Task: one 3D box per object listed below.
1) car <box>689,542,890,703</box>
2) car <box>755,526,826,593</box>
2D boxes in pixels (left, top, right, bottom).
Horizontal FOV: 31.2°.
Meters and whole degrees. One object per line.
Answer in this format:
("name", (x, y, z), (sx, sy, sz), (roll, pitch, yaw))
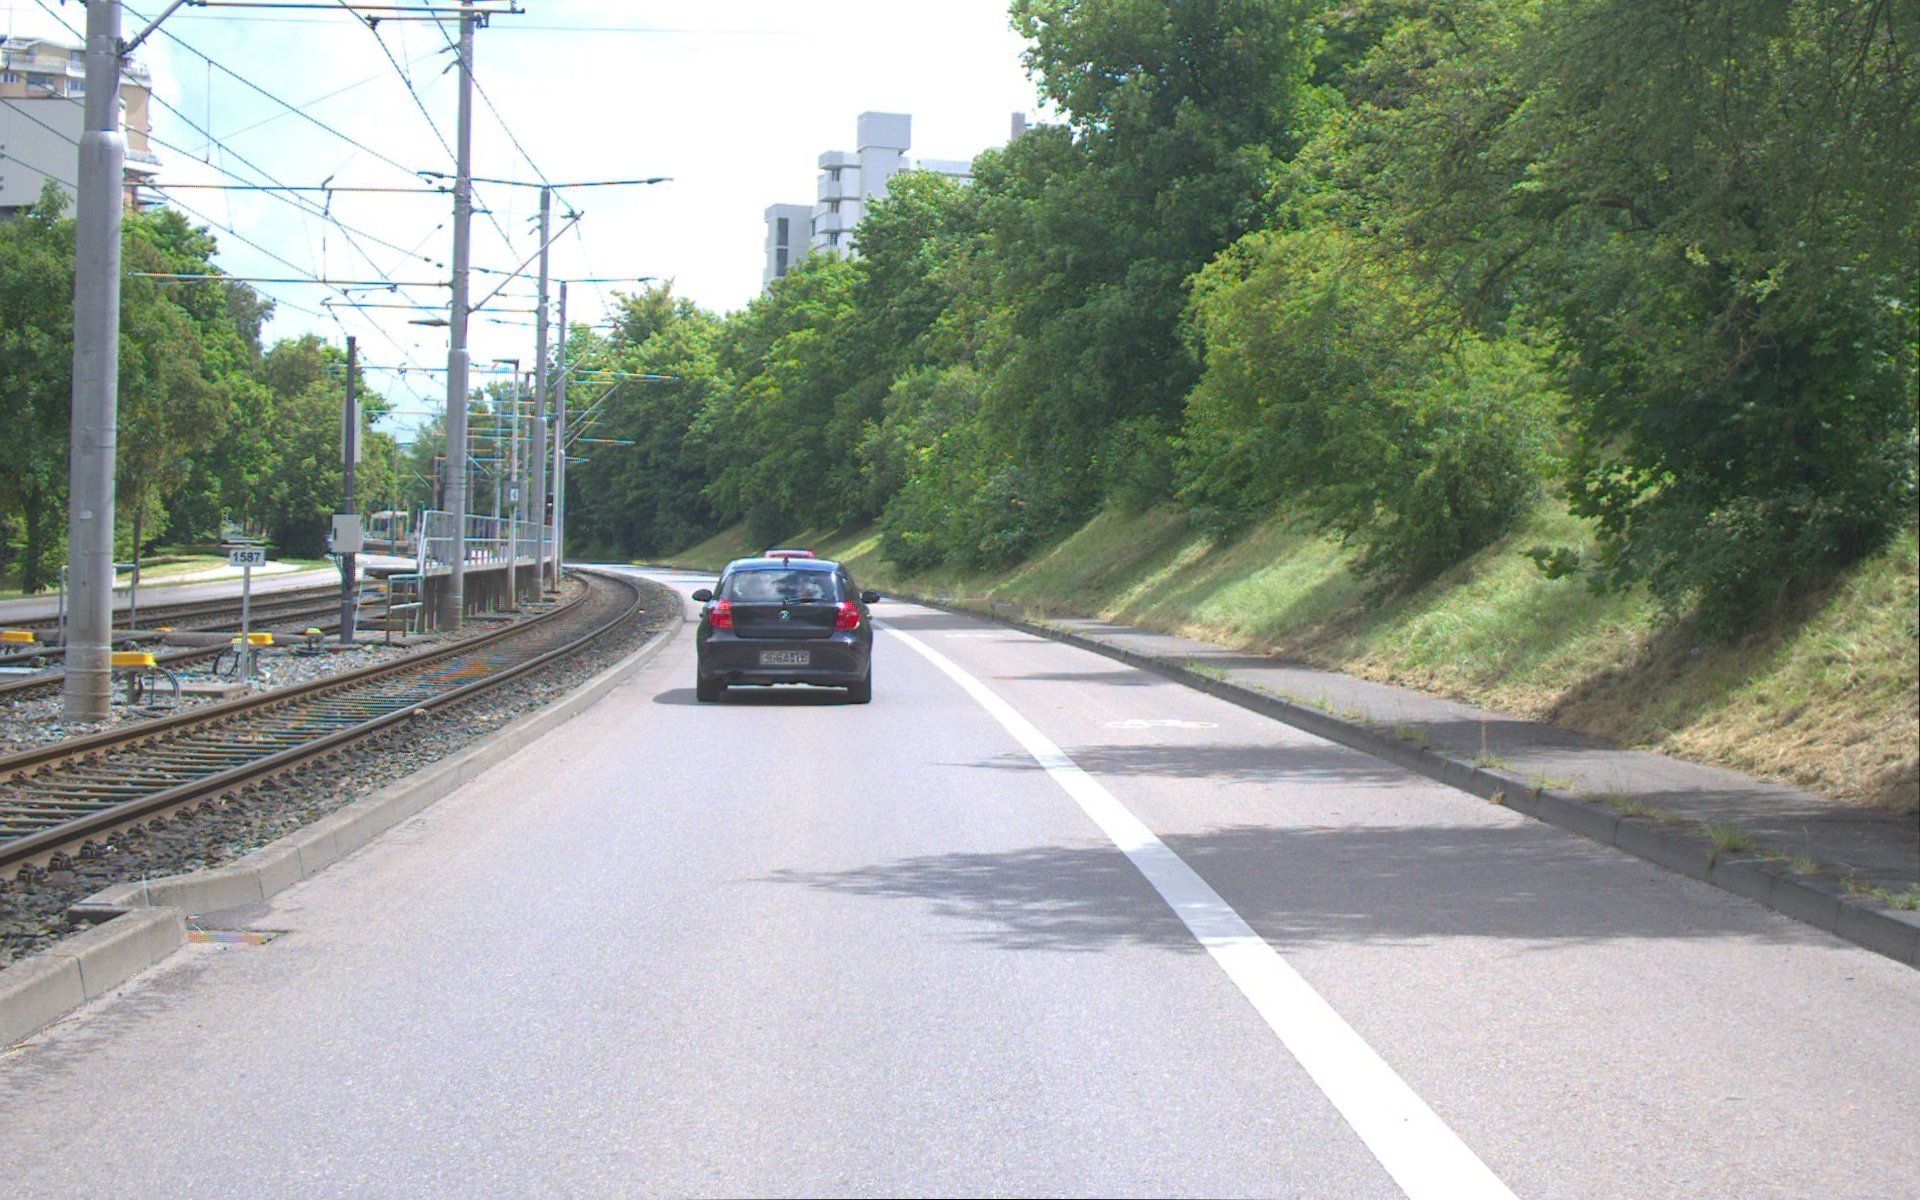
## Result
("car", (-1.670, 0.210, 34.819), (1.708, 1.455, 3.960), (3, 0, 1))
("car", (-4.052, -0.982, 82.559), (1.624, 1.438, 3.422), (2, 2, -2))
